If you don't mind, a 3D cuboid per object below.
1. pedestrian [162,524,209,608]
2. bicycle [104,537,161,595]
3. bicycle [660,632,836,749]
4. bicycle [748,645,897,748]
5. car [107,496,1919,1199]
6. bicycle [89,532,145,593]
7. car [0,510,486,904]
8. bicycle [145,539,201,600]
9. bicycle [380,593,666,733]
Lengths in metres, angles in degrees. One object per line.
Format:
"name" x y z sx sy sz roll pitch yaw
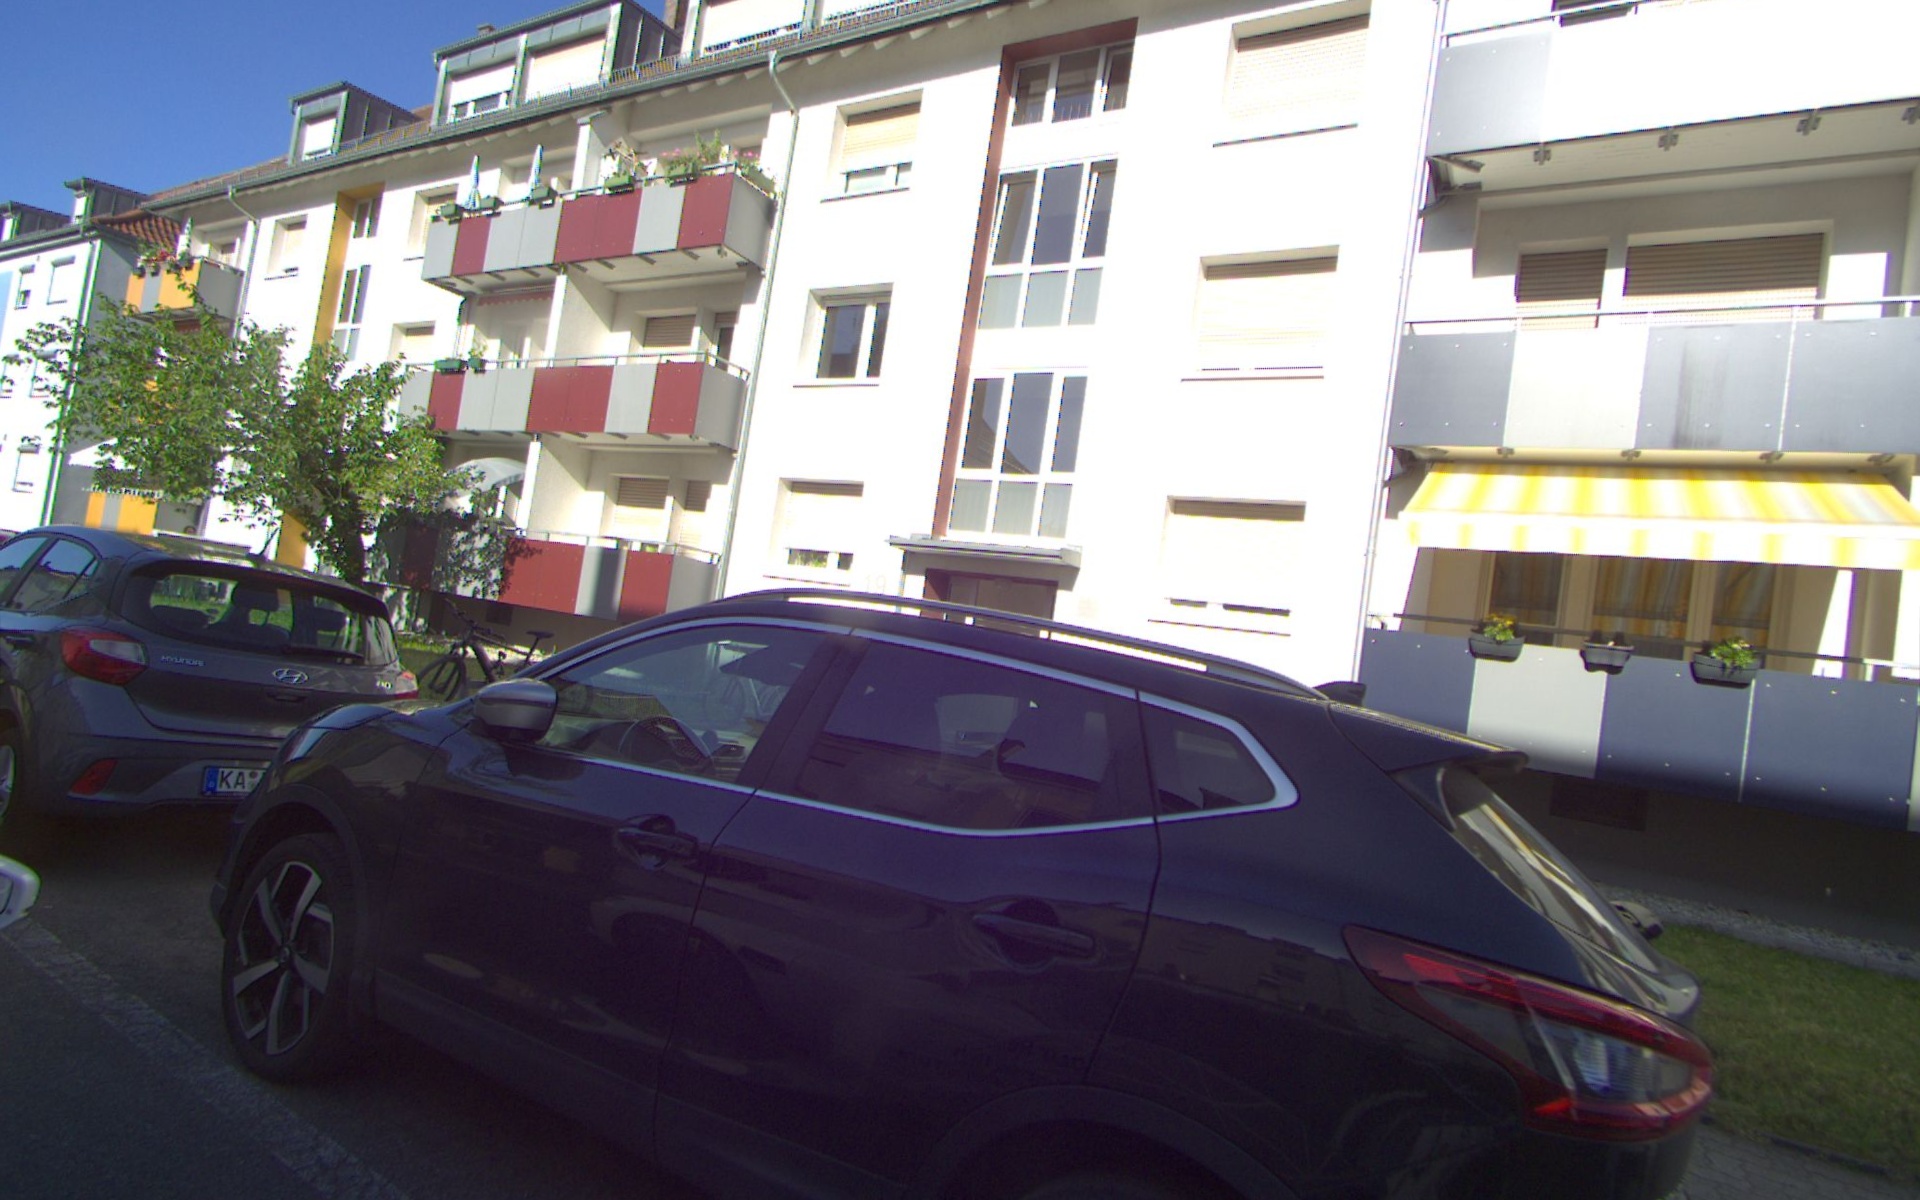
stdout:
"pedestrian" -14.745 -0.643 19.148 0.354 1.511 0.451 5 -3 32
"bicycle" -16.715 -0.672 20.331 0.235 1.059 0.741 7 -1 33
"bicycle" -2.610 1.071 12.217 2.250 1.061 0.521 7 0 32
"bicycle" -1.840 1.255 13.278 1.942 1.049 0.521 7 -1 32
"car" -0.418 0.767 2.936 4.279 1.596 1.727 7 -2 31
"bicycle" -17.454 -0.781 20.822 1.278 1.099 0.404 7 -1 32
"car" -4.673 0.373 5.653 3.995 1.464 1.652 7 -5 34
"bicycle" -16.815 -0.664 21.482 1.252 1.145 0.404 7 -2 32
"bicycle" -4.316 0.685 10.162 0.866 1.142 2.426 7 -2 37
